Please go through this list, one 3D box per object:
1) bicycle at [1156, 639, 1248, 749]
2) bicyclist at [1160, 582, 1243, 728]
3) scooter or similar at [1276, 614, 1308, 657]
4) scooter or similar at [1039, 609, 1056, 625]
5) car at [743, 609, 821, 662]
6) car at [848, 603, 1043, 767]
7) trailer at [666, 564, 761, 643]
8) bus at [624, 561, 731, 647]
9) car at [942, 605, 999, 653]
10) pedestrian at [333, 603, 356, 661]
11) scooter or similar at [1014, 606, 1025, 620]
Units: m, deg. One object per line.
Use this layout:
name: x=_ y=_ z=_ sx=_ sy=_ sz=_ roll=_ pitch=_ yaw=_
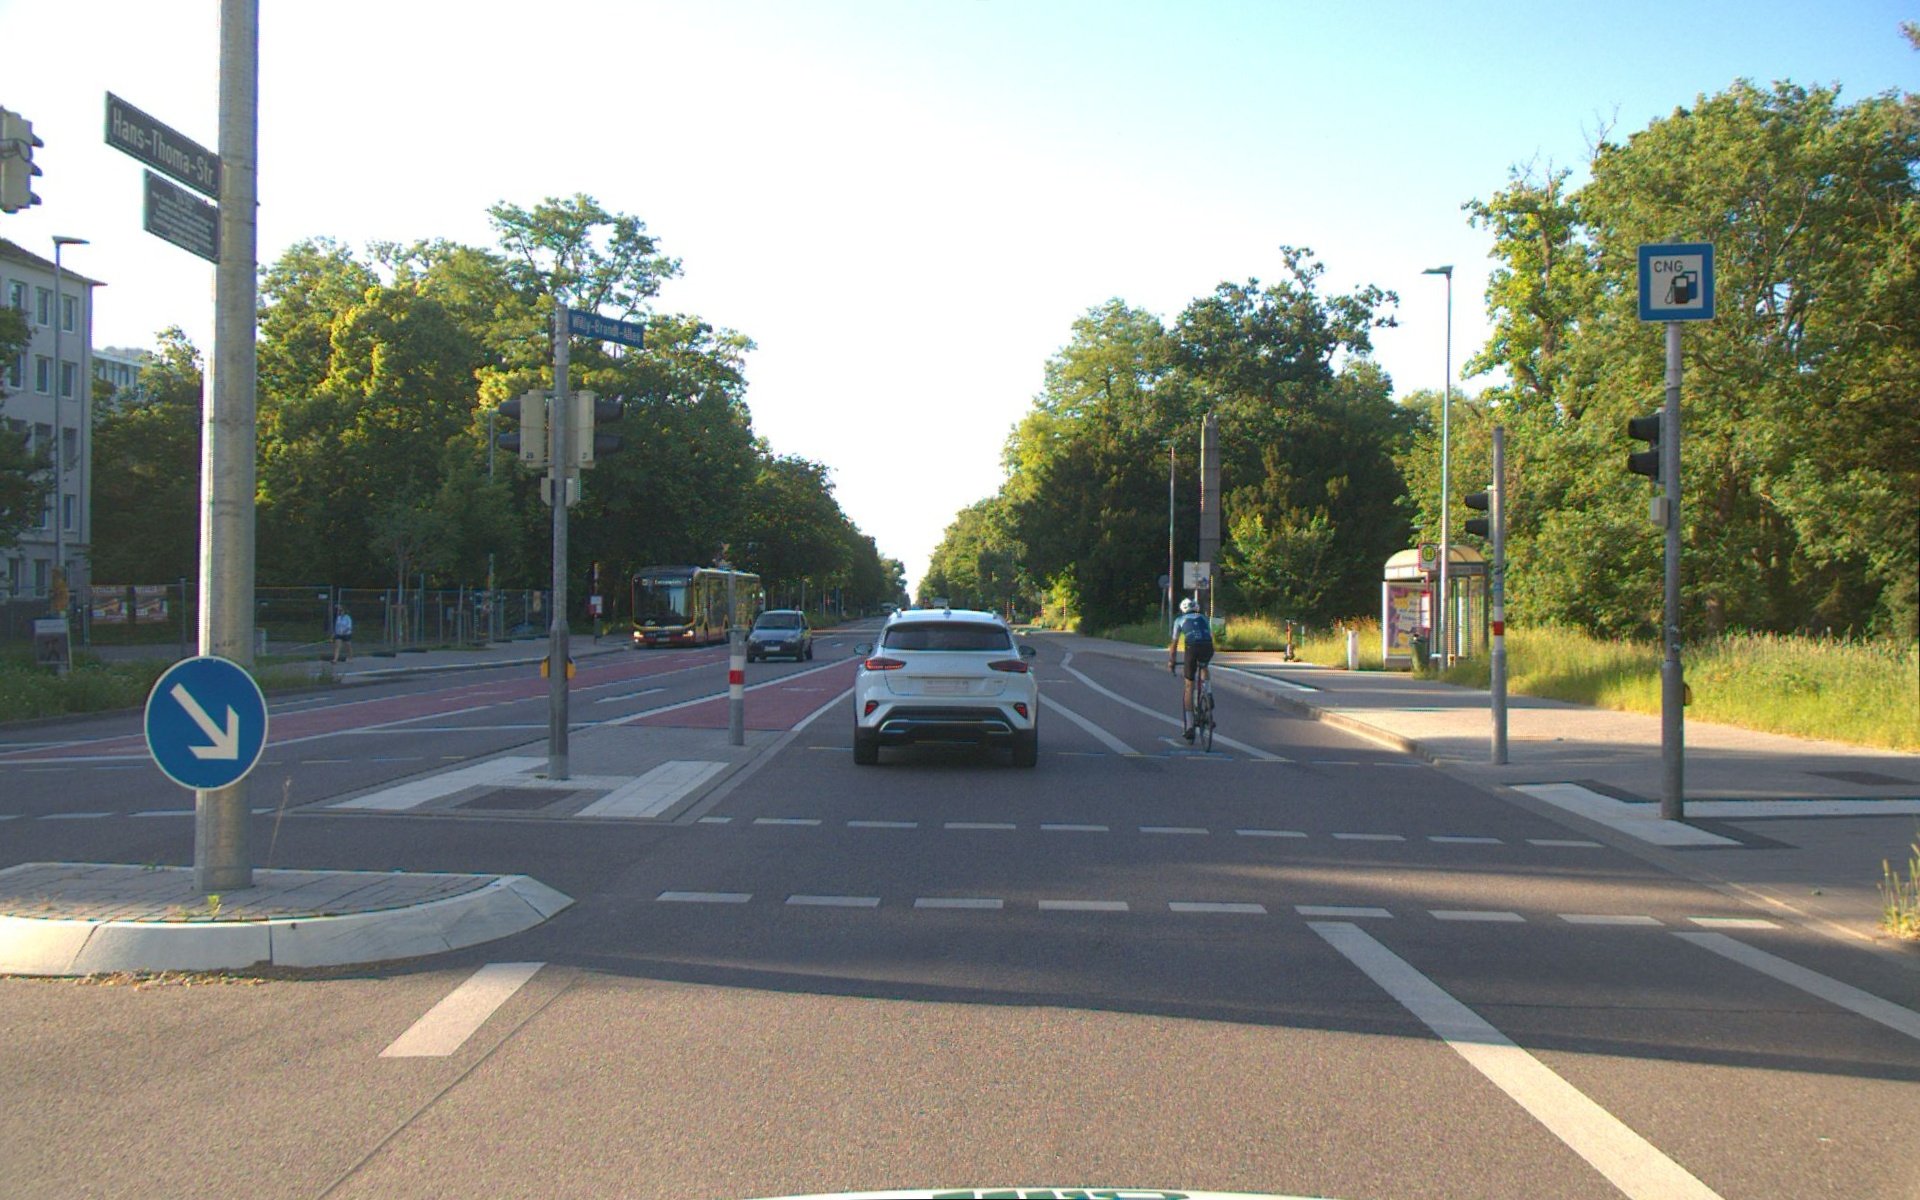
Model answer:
bicycle: x=2.747 y=1.044 z=18.961 sx=0.872 sy=1.114 sz=2.137 roll=1 pitch=0 yaw=4
bicyclist: x=2.729 y=0.609 z=18.769 sx=0.842 sy=1.594 sz=0.881 roll=1 pitch=0 yaw=4
scooter or similar: x=9.952 y=1.064 z=49.584 sx=0.707 sy=1.269 sz=1.328 roll=0 pitch=0 yaw=22
scooter or similar: x=7.054 y=1.349 z=133.400 sx=1.530 sy=1.272 sz=0.526 roll=0 pitch=-1 yaw=-45
car: x=-5.066 y=0.983 z=47.480 sx=1.675 sy=1.446 sz=4.554 roll=0 pitch=0 yaw=1
car: x=-0.256 y=0.792 z=17.108 sx=1.727 sy=1.485 sz=3.814 roll=1 pitch=0 yaw=-5
trailer: x=-11.533 y=0.209 z=78.395 sx=2.796 sy=3.414 sz=9.363 roll=2 pitch=-1 yaw=1
bus: x=-11.708 y=0.170 z=69.407 sx=2.782 sy=3.252 sz=8.600 roll=2 pitch=0 yaw=1
car: x=0.363 y=0.879 z=51.819 sx=1.641 sy=1.442 sz=3.575 roll=0 pitch=0 yaw=2
pedestrian: x=-16.794 y=0.876 z=45.151 sx=0.442 sy=1.560 sz=0.571 roll=0 pitch=0 yaw=-5
scooter or similar: x=6.513 y=1.424 z=180.961 sx=0.670 sy=1.448 sz=1.675 roll=0 pitch=0 yaw=-15
